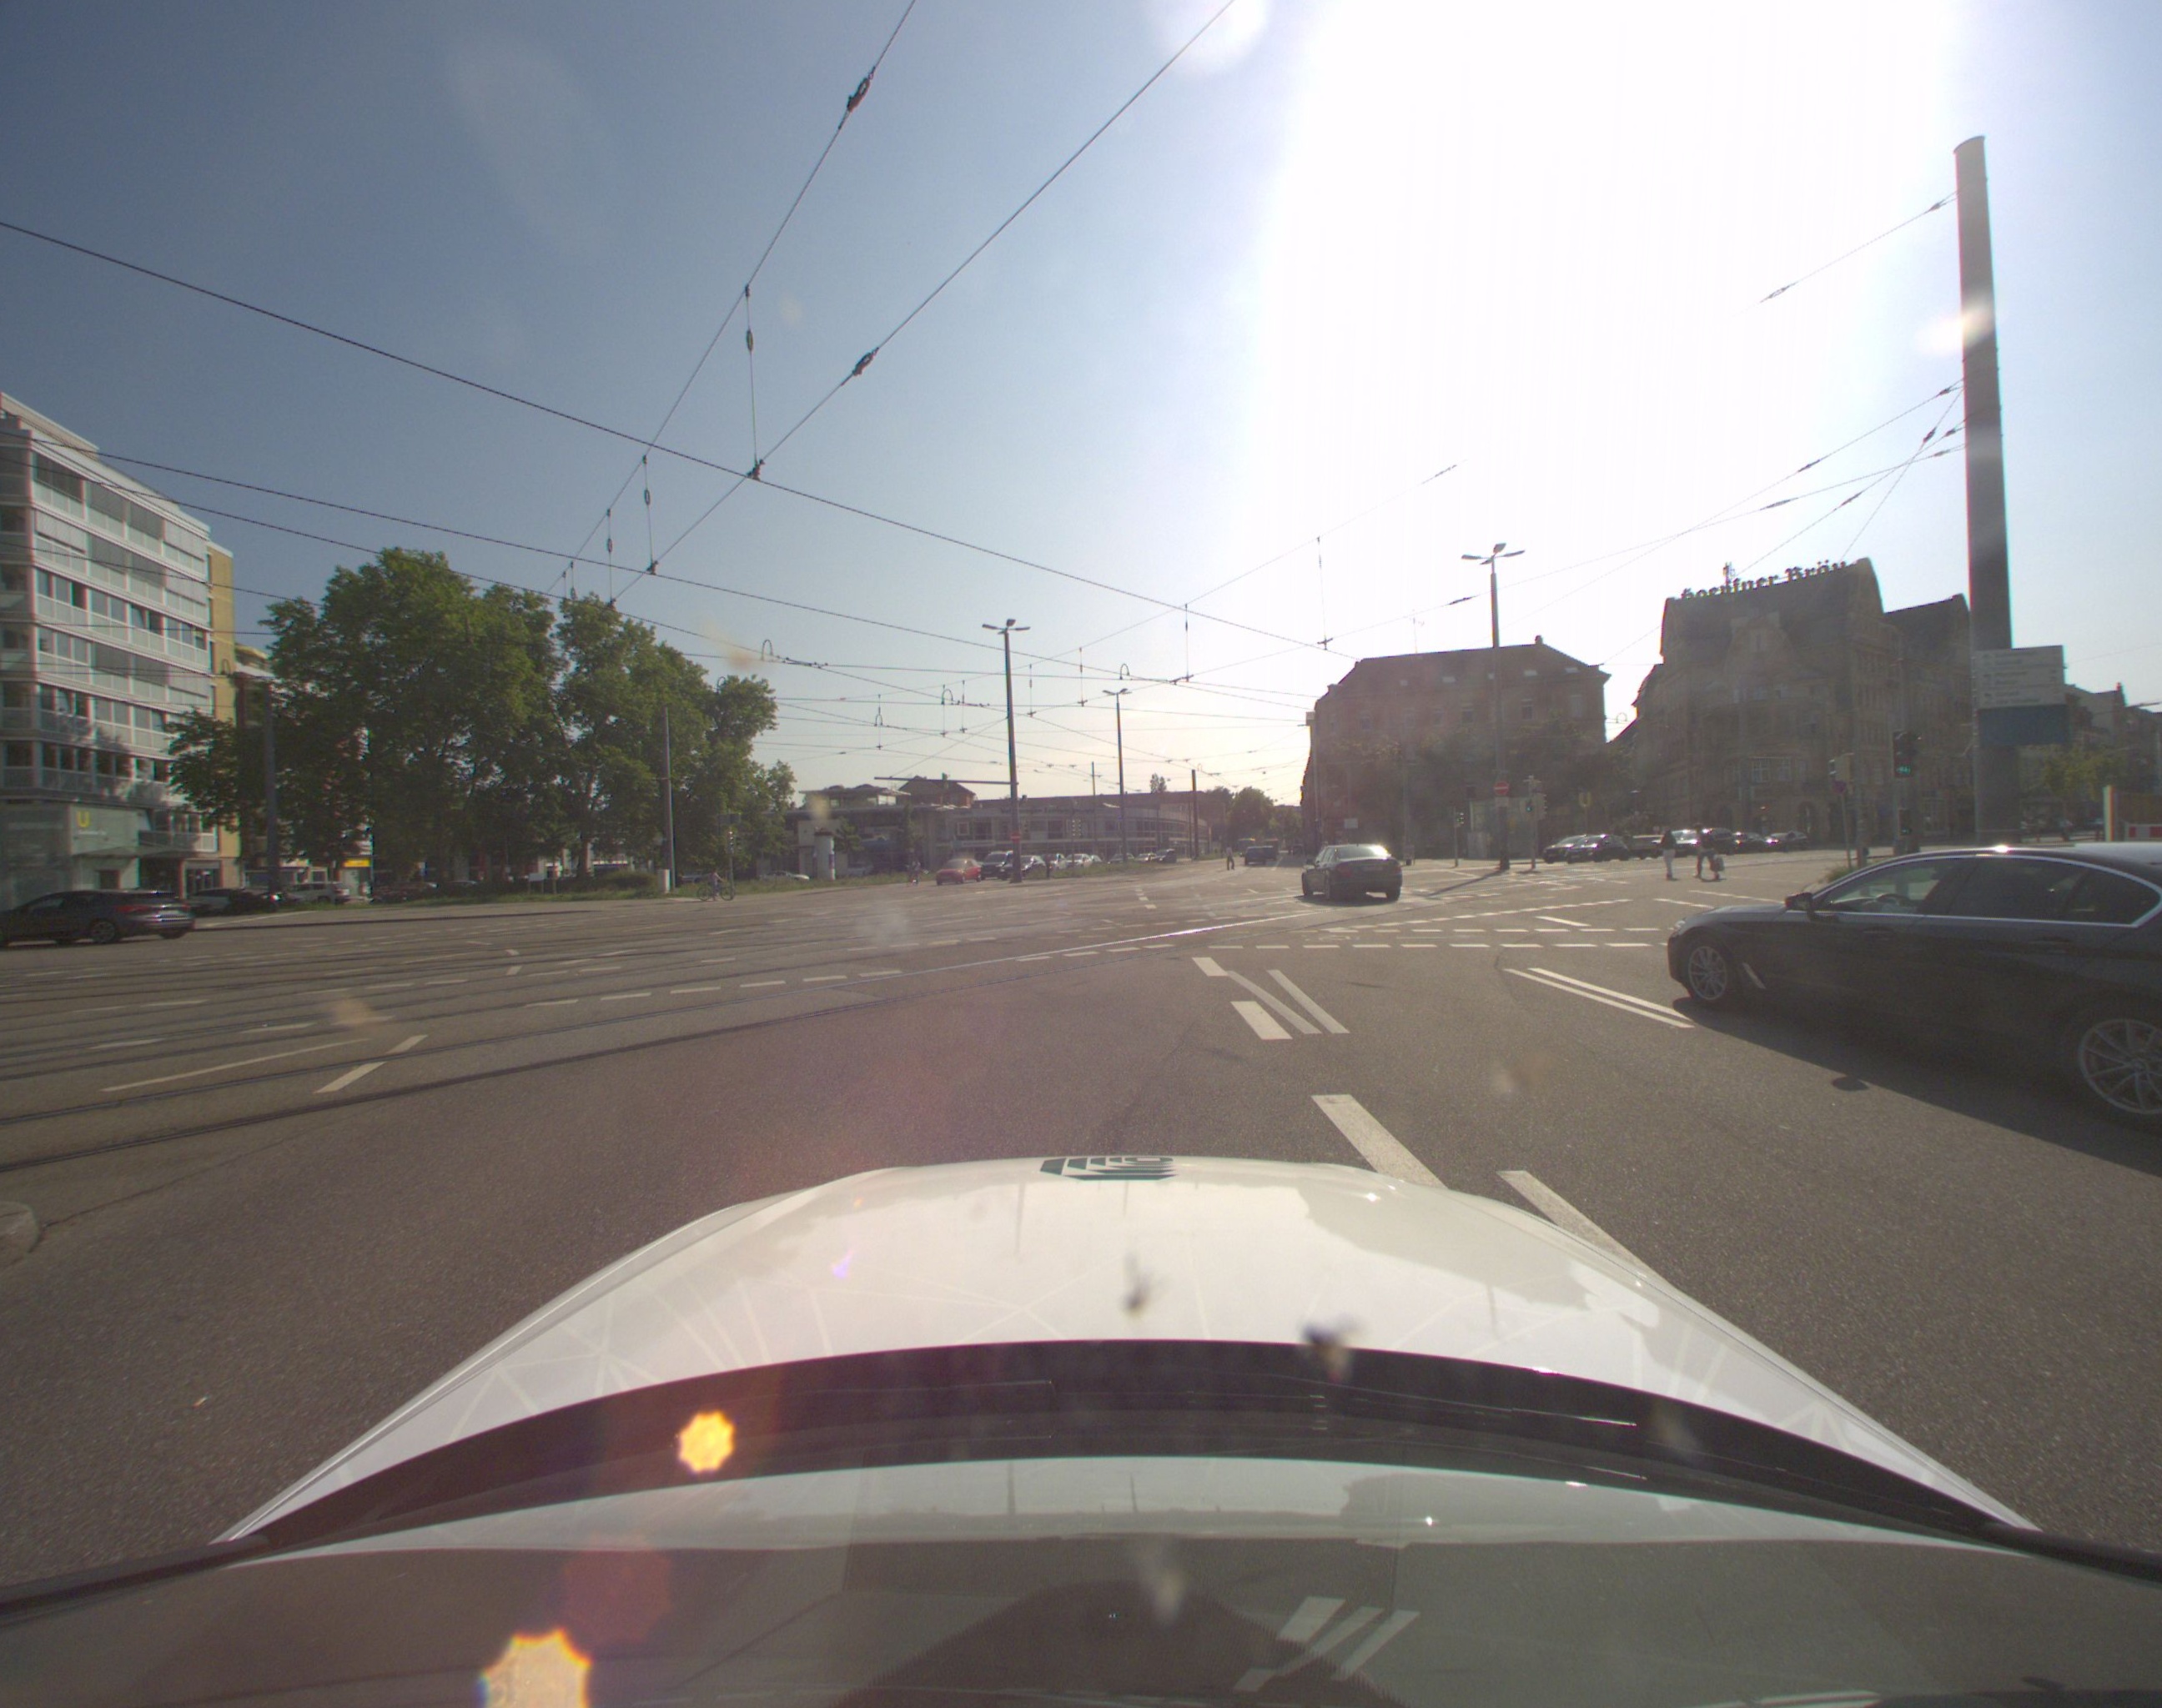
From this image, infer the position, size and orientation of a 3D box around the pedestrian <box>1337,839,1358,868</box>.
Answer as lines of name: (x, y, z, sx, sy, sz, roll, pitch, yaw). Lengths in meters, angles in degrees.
pedestrian: (16.921, -0.025, 51.765, 0.933, 1.797, 0.849, -2, 0, -42)

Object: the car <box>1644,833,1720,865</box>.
car: (37.530, -0.314, 50.860, 4.678, 1.859, 2.026, -2, 0, -29)

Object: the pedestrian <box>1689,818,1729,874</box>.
pedestrian: (19.416, -0.240, 25.181, 0.910, 1.690, 0.931, -2, -1, 39)

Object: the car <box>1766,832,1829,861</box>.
car: (49.322, -0.543, 56.061, 4.125, 1.859, 1.914, -2, 0, -29)

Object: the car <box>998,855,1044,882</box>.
car: (-3.727, 0.866, 51.107, 1.603, 1.475, 4.015, -4, -1, 14)

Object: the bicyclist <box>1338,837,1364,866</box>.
bicyclist: (16.192, -0.140, 48.798, 0.941, 1.708, 1.080, -2, 0, -38)

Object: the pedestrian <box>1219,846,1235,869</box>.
pedestrian: (9.944, 0.235, 55.328, 0.779, 1.503, 0.706, -2, 0, -17)

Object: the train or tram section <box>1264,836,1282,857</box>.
train or tram section: (37.368, -1.454, 158.690, 2.638, 3.699, 10.620, -2, 0, 10)

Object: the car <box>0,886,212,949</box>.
car: (-26.755, 1.687, 21.803, 4.535, 1.435, 1.832, -2, 0, -10)

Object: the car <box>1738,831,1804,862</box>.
car: (45.295, -0.505, 53.472, 4.148, 1.859, 1.960, -2, 0, -29)

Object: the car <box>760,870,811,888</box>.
car: (-28.047, 2.372, 77.338, 4.068, 1.522, 1.707, -2, 0, 3)

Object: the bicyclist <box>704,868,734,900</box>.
bicyclist: (-17.613, 1.467, 39.649, 1.164, 1.527, 0.956, 0, -1, -15)

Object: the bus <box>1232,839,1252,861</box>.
bus: (28.930, -0.718, 145.701, 2.900, 3.619, 16.806, -2, 0, 13)

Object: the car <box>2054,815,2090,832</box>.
car: (116.680, -3.614, 95.901, 4.125, 1.859, 1.914, -2, 0, -29)

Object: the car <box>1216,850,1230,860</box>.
car: (22.045, 0.099, 126.440, 1.602, 1.475, 4.016, -4, -1, 15)

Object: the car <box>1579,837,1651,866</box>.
car: (37.005, -0.203, 56.425, 4.271, 1.859, 1.920, -2, 0, -18)

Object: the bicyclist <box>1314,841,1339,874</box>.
bicyclist: (15.236, 0.236, 50.471, 0.941, 2.024, 1.080, -2, 0, -38)

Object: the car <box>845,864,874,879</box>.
car: (-23.805, 1.892, 87.571, 1.692, 1.522, 4.103, -2, 0, 3)

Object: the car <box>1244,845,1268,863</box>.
car: (15.374, -0.019, 71.363, 1.812, 1.428, 4.430, -2, 0, 15)

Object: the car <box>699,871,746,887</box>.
car: (-38.577, 2.657, 87.736, 1.683, 1.522, 4.543, -2, 0, 30)

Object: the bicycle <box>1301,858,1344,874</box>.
bicycle: (15.652, 0.773, 52.778, 2.631, 0.964, 1.084, -2, 0, -25)

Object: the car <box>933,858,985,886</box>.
car: (-7.275, 1.077, 48.901, 1.603, 1.475, 4.015, -4, -1, 14)

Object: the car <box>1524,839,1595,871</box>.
car: (29.955, 0.039, 50.969, 4.285, 1.859, 1.937, -2, 0, -29)

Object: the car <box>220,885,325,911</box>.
car: (-48.739, 2.638, 49.171, 4.170, 1.354, 1.567, -2, 0, -20)

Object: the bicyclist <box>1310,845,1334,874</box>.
bicyclist: (15.623, 0.352, 52.770, 0.938, 1.800, 1.084, -2, 0, -25)

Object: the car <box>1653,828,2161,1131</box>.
car: (6.198, 0.594, 5.383, 1.676, 1.491, 4.675, -1, 0, 2)

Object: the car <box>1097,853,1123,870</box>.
car: (2.955, 0.739, 81.779, 1.602, 1.475, 4.016, -4, -1, 15)

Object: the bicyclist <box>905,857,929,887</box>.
bicyclist: (-9.883, 1.102, 49.196, 0.950, 1.748, 1.171, -2, 0, 15)

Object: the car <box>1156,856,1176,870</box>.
car: (9.978, 1.018, 94.947, 1.602, 1.475, 4.016, -4, -1, 15)

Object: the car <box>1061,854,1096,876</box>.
car: (-0.177, 0.829, 63.202, 1.602, 1.475, 4.016, -4, -1, 15)

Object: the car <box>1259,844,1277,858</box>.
car: (20.760, -0.371, 90.454, 1.812, 1.428, 4.429, -2, 0, 13)

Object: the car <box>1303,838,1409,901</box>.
car: (7.150, 0.363, 21.596, 1.674, 1.442, 4.379, -2, 0, 5)

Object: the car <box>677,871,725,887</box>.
car: (-41.146, 2.703, 88.345, 1.683, 1.522, 4.543, -2, 0, 30)

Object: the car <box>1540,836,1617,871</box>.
car: (28.467, -0.060, 46.589, 4.262, 1.859, 1.892, -2, 0, -29)

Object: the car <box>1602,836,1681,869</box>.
car: (34.042, -0.102, 49.418, 4.720, 1.859, 1.893, -2, 0, -27)

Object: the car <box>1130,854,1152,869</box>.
car: (6.561, 0.760, 88.895, 1.602, 1.475, 4.016, -4, -1, 15)

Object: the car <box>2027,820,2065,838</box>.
car: (107.559, -2.799, 90.752, 4.125, 1.859, 1.914, -2, 0, -29)

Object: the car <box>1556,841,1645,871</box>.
car: (27.045, 0.100, 42.375, 4.400, 1.397, 2.005, -2, 0, -29)

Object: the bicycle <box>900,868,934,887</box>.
bicycle: (-9.876, 1.427, 49.185, 0.950, 1.057, 2.619, -2, 0, 15)

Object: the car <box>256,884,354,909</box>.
car: (-48.916, 2.652, 51.426, 4.170, 1.354, 1.567, -2, 0, -20)

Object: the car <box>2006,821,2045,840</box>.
car: (100.681, -2.479, 86.786, 4.125, 1.859, 1.914, -2, 0, -29)

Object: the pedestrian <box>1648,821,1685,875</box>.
pedestrian: (18.778, -0.181, 26.131, 0.910, 1.690, 0.843, -2, -1, 36)

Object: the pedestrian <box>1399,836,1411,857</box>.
pedestrian: (23.448, -0.536, 58.903, 0.540, 1.471, 0.672, -3, -1, 44)

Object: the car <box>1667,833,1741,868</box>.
car: (35.663, -0.227, 46.609, 4.079, 1.859, 1.893, -2, 0, -29)

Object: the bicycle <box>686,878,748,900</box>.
bicycle: (-17.697, 1.696, 39.619, 2.604, 1.057, 0.956, 1, -1, -15)

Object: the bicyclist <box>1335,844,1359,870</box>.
bicyclist: (17.742, 0.181, 54.321, 0.938, 1.680, 1.084, -2, 0, -25)

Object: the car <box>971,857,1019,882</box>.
car: (-5.850, 1.060, 56.046, 1.946, 1.475, 4.015, -4, -1, 14)

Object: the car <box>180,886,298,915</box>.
car: (-45.959, 2.521, 44.562, 4.170, 1.354, 1.567, -2, 0, -20)

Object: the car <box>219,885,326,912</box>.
car: (-47.382, 2.581, 47.822, 4.170, 1.354, 1.567, -2, 0, -20)

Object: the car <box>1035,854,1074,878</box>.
car: (-1.828, 0.824, 57.553, 1.603, 1.475, 4.015, -4, -1, 14)
